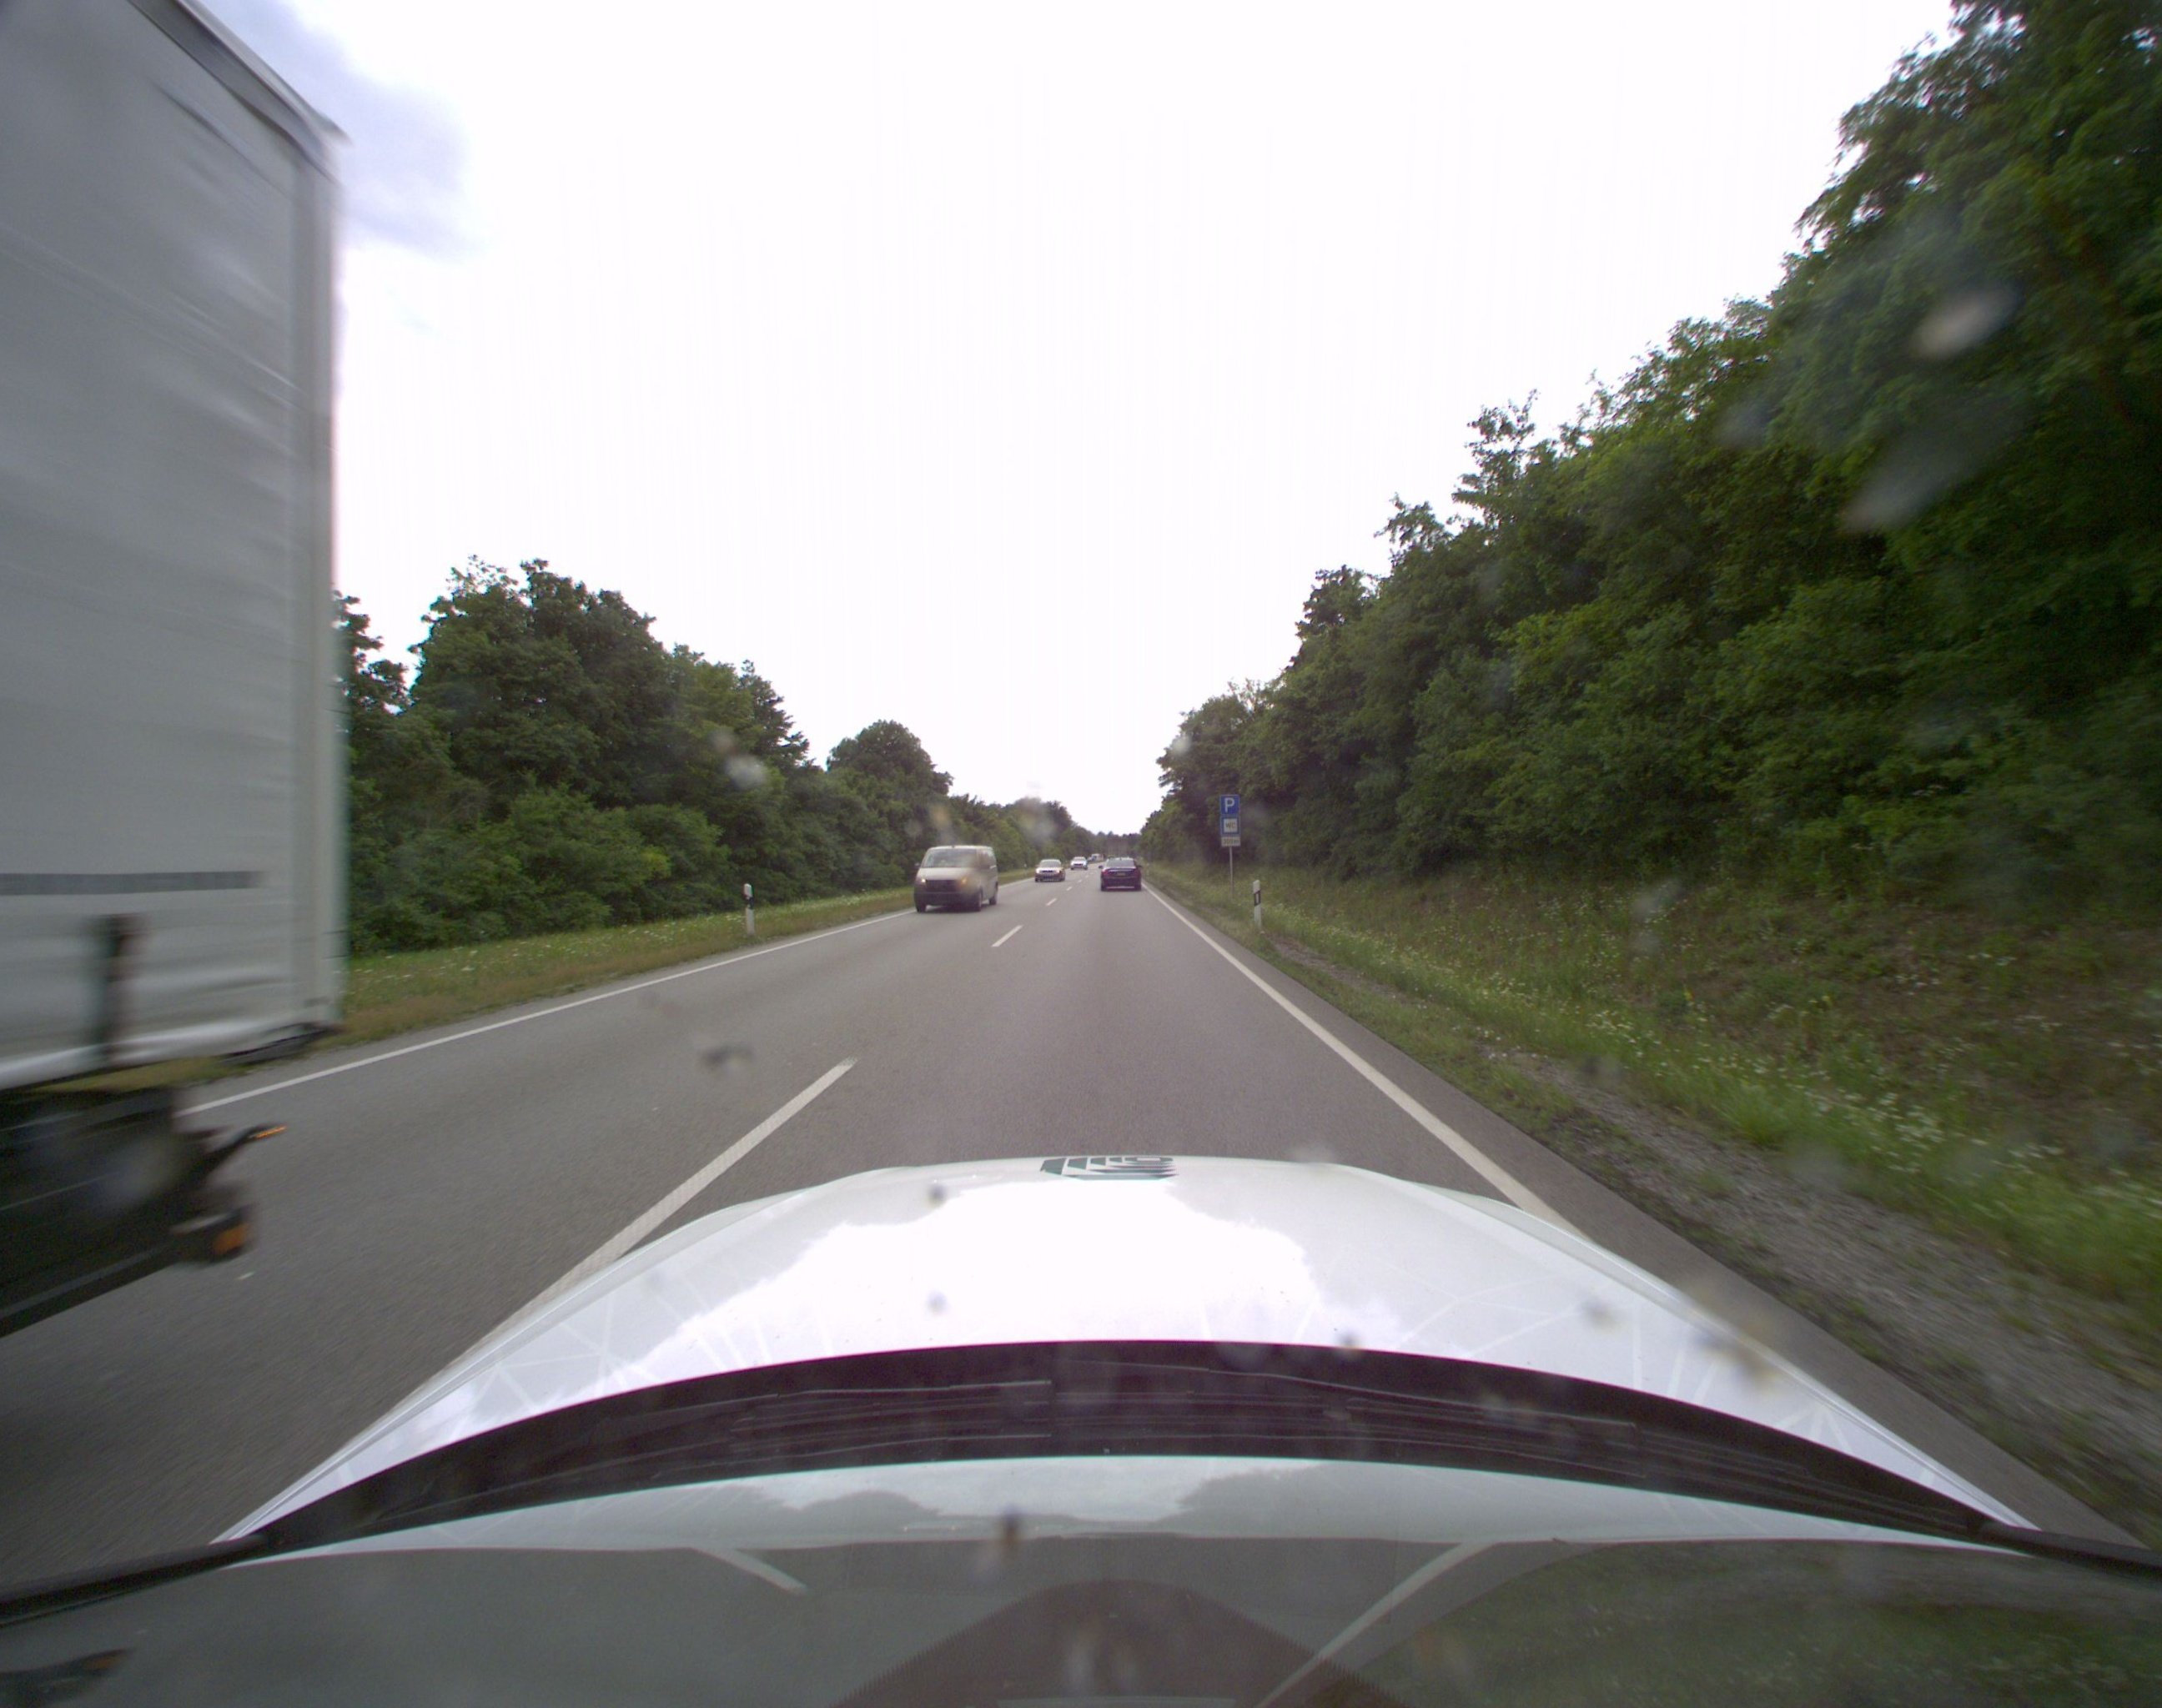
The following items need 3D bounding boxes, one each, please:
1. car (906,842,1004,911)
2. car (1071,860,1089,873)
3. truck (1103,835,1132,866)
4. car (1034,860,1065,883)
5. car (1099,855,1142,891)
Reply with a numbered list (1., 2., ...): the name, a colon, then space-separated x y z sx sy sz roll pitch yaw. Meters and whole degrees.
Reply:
1. car: -3.818 0.652 25.714 1.986 1.940 5.813 0 -1 2
2. car: -0.137 1.507 99.078 1.956 1.574 5.454 0 -1 2
3. truck: 4.642 -0.403 101.468 3.266 3.611 11.413 0 -1 5
4. car: -2.026 1.127 53.207 1.719 1.434 4.505 0 -1 2
5. car: 1.766 0.840 37.420 1.785 1.552 4.000 0 -1 1
